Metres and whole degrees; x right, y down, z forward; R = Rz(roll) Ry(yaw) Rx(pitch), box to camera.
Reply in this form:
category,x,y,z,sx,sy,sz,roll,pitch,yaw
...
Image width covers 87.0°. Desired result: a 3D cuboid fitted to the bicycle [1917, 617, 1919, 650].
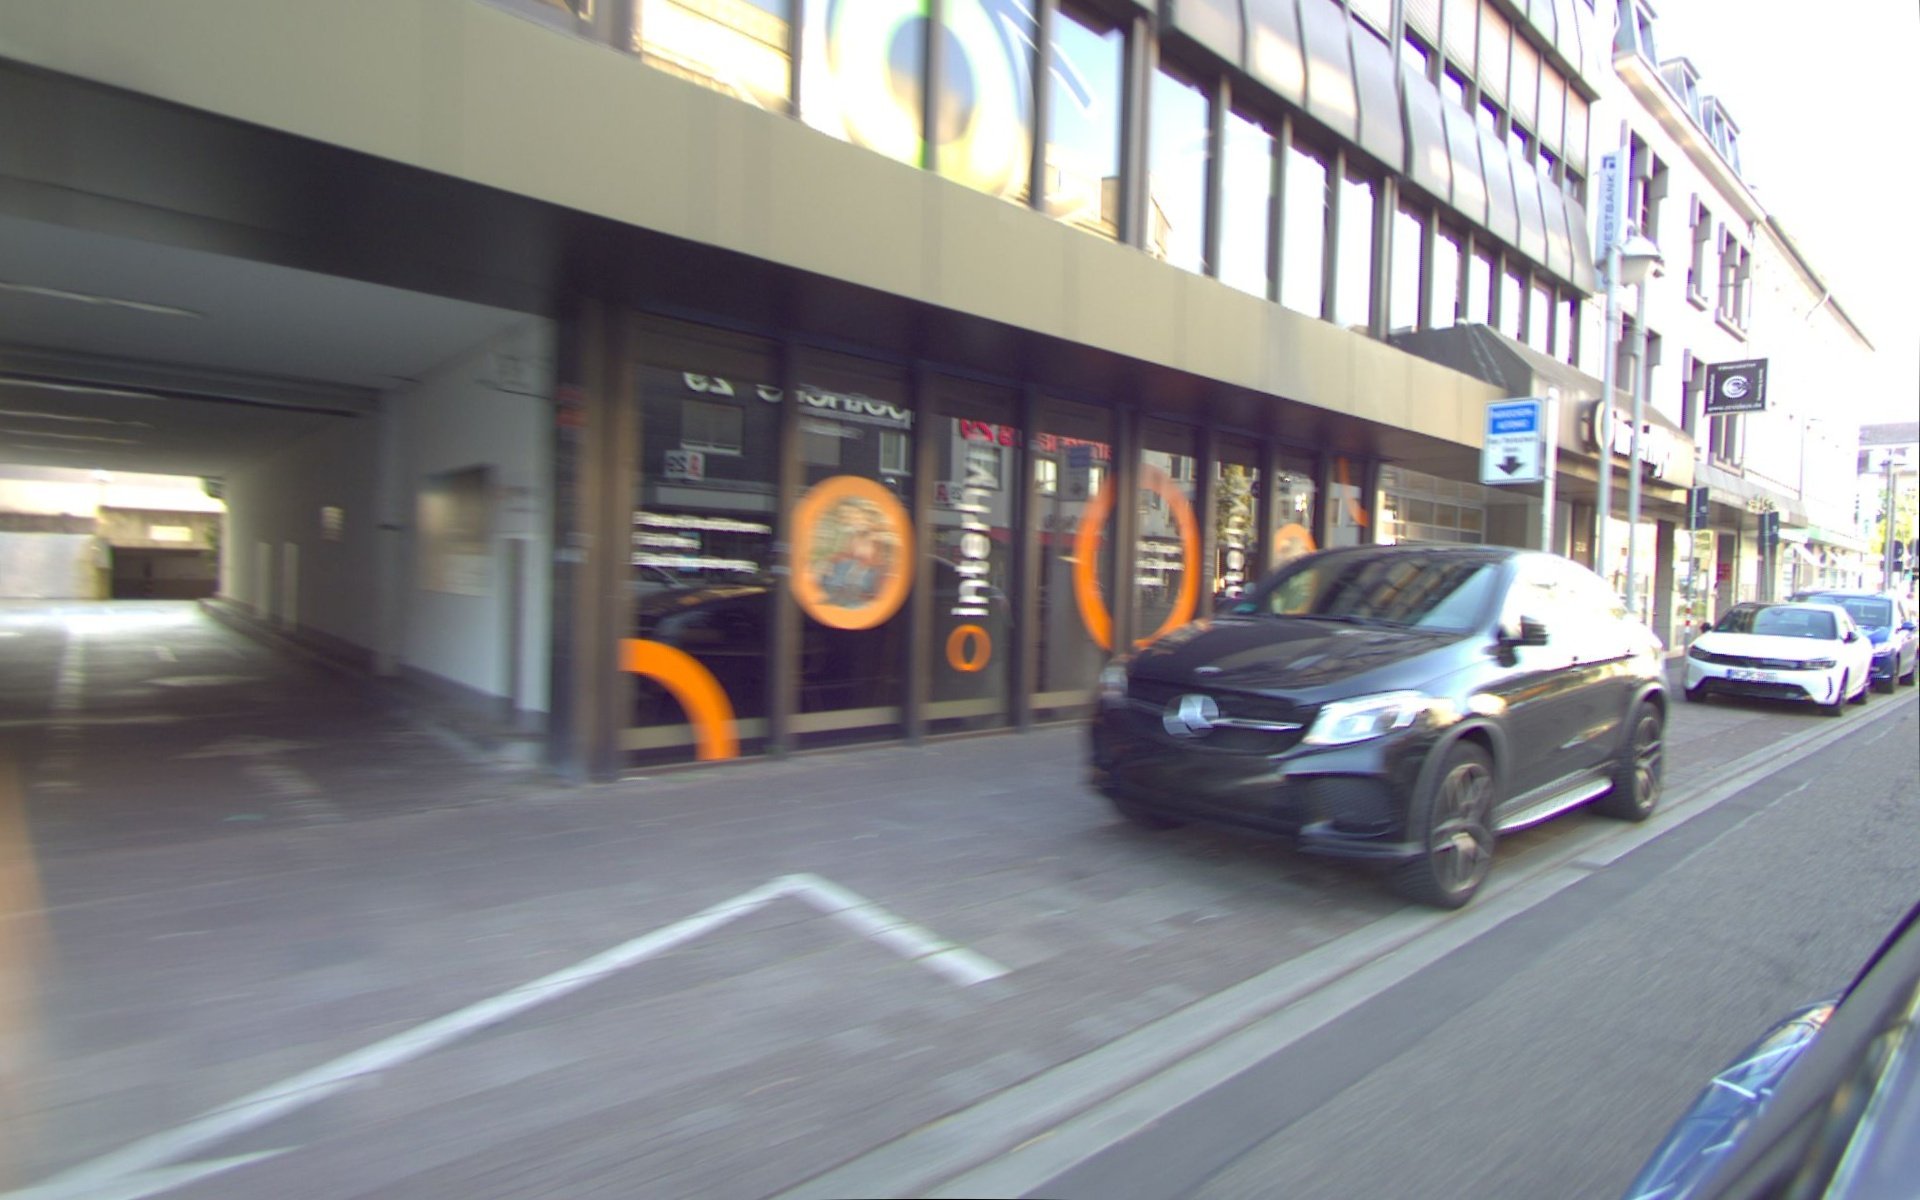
category,x,y,z,sx,sy,sz,roll,pitch,yaw
bicycle,26.104,0.774,27.163,1.621,1.103,0.478,-1,4,-45

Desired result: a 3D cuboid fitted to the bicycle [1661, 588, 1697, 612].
category,x,y,z,sx,sy,sz,roll,pitch,yaw
bicycle,47.886,-0.024,67.384,2.183,1.541,0.682,1,1,-16

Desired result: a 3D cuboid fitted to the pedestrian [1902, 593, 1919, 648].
category,x,y,z,sx,sy,sz,roll,pitch,yaw
pedestrian,31.620,0.681,33.414,0.636,1.800,0.671,1,1,-42

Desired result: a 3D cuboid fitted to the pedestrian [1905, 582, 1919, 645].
category,x,y,z,sx,sy,sz,roll,pitch,yaw
pedestrian,29.870,0.411,31.485,0.573,1.952,0.489,2,1,38

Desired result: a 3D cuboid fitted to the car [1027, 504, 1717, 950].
category,x,y,z,sx,sy,sz,roll,pitch,yaw
car,2.780,0.444,6.237,4.588,1.755,1.989,0,4,-41

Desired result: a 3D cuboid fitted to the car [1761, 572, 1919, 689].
category,x,y,z,sx,sy,sz,roll,pitch,yaw
car,16.181,0.472,18.178,4.483,1.737,1.919,0,4,-41

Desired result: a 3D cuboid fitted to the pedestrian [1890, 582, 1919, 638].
category,x,y,z,sx,sy,sz,roll,pitch,yaw
pedestrian,30.514,0.304,32.641,0.687,1.767,0.639,1,1,-39

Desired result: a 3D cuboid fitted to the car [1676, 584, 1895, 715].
category,x,y,z,sx,sy,sz,roll,pitch,yaw
car,11.781,0.600,14.362,3.805,1.503,1.769,0,4,-42
